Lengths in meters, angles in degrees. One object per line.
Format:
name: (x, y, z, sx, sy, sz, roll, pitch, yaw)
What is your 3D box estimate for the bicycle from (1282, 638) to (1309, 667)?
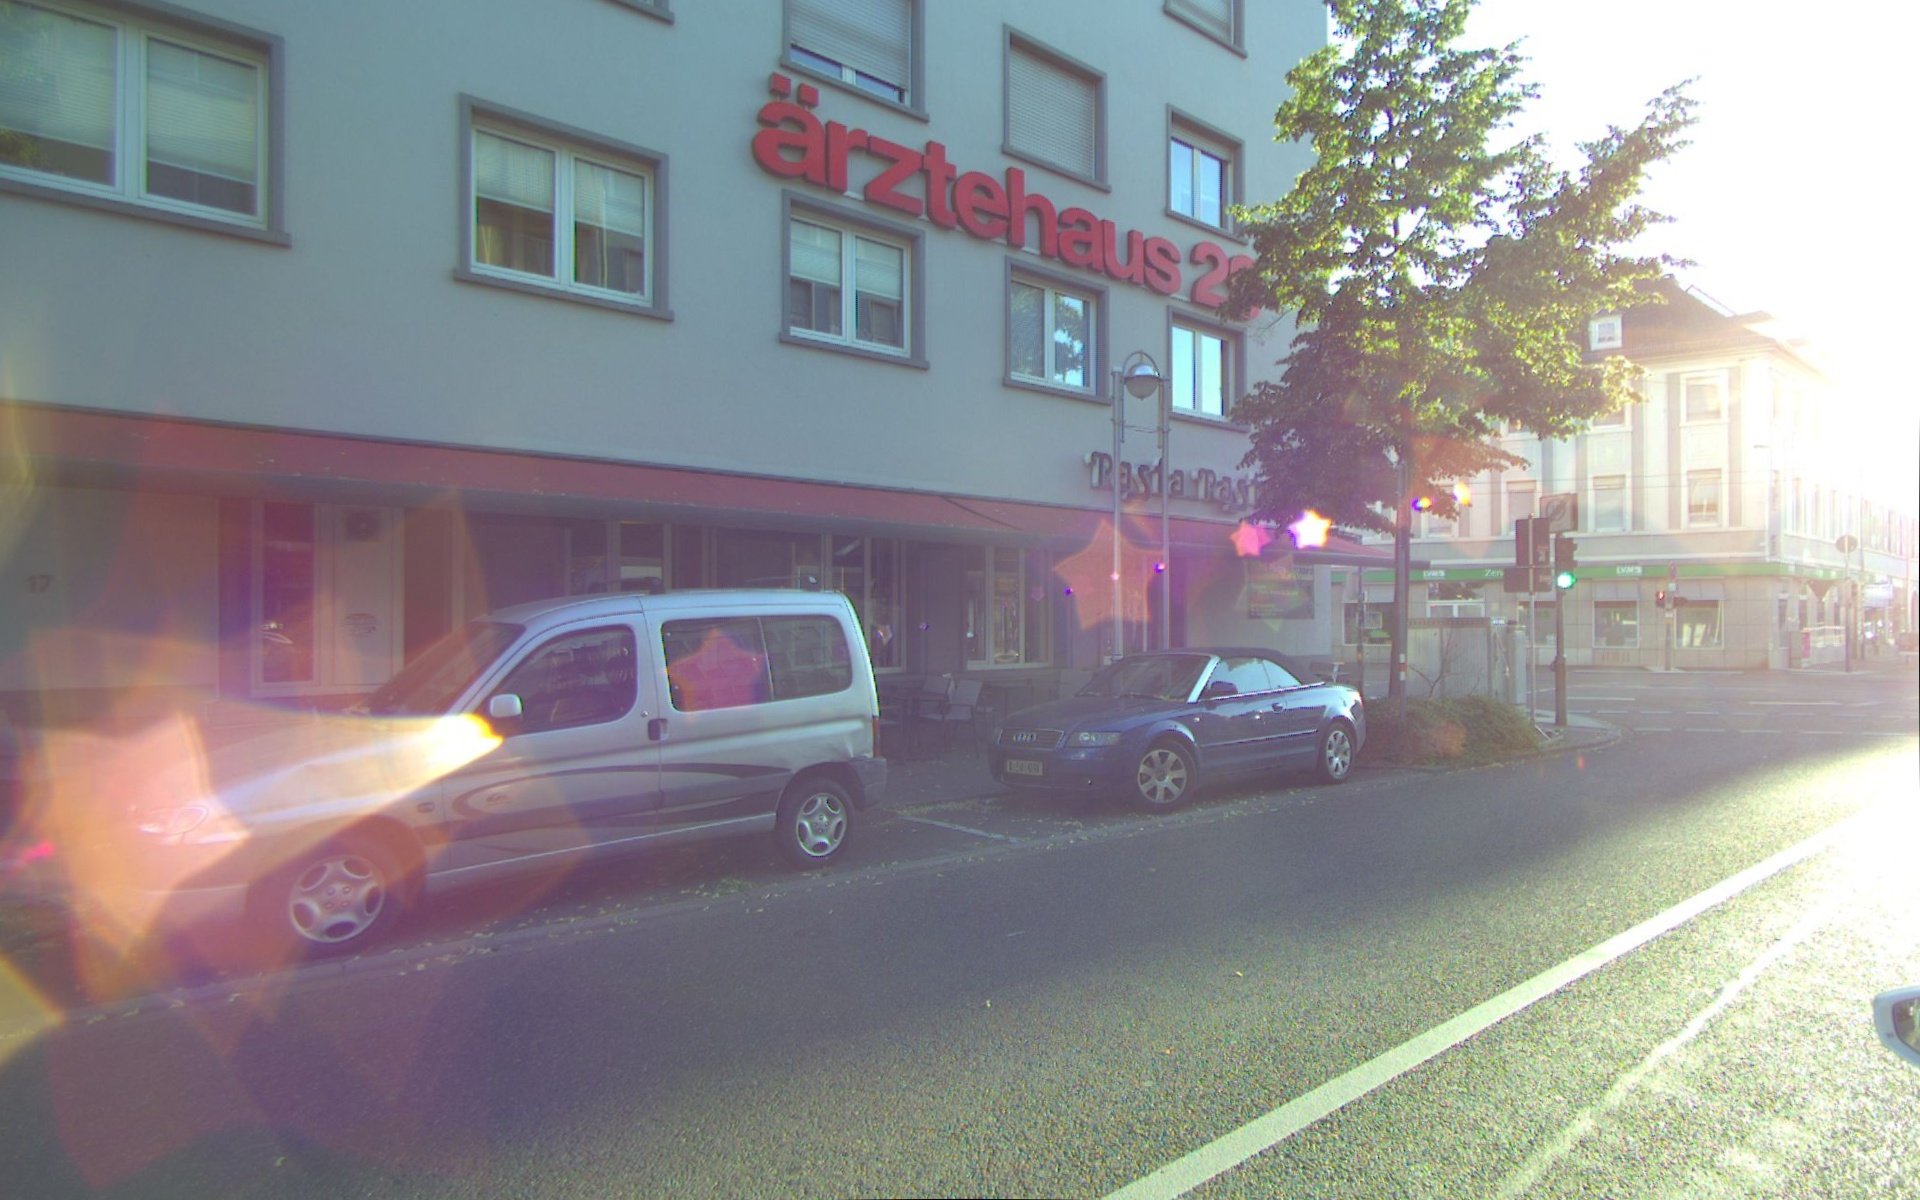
bicycle: (13.107, 2.035, 39.209, 0.490, 1.073, 1.736, 0, -1, 36)

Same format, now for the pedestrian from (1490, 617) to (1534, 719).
pedestrian: (9.318, 1.130, 16.974, 0.575, 1.678, 0.799, 0, -1, 25)

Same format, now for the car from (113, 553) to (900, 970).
car: (-2.456, 0.691, 6.028, 3.970, 1.686, 1.699, 2, 0, -42)

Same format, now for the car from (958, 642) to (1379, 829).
car: (2.147, 1.116, 9.662, 4.274, 1.371, 1.636, 1, -2, -39)
